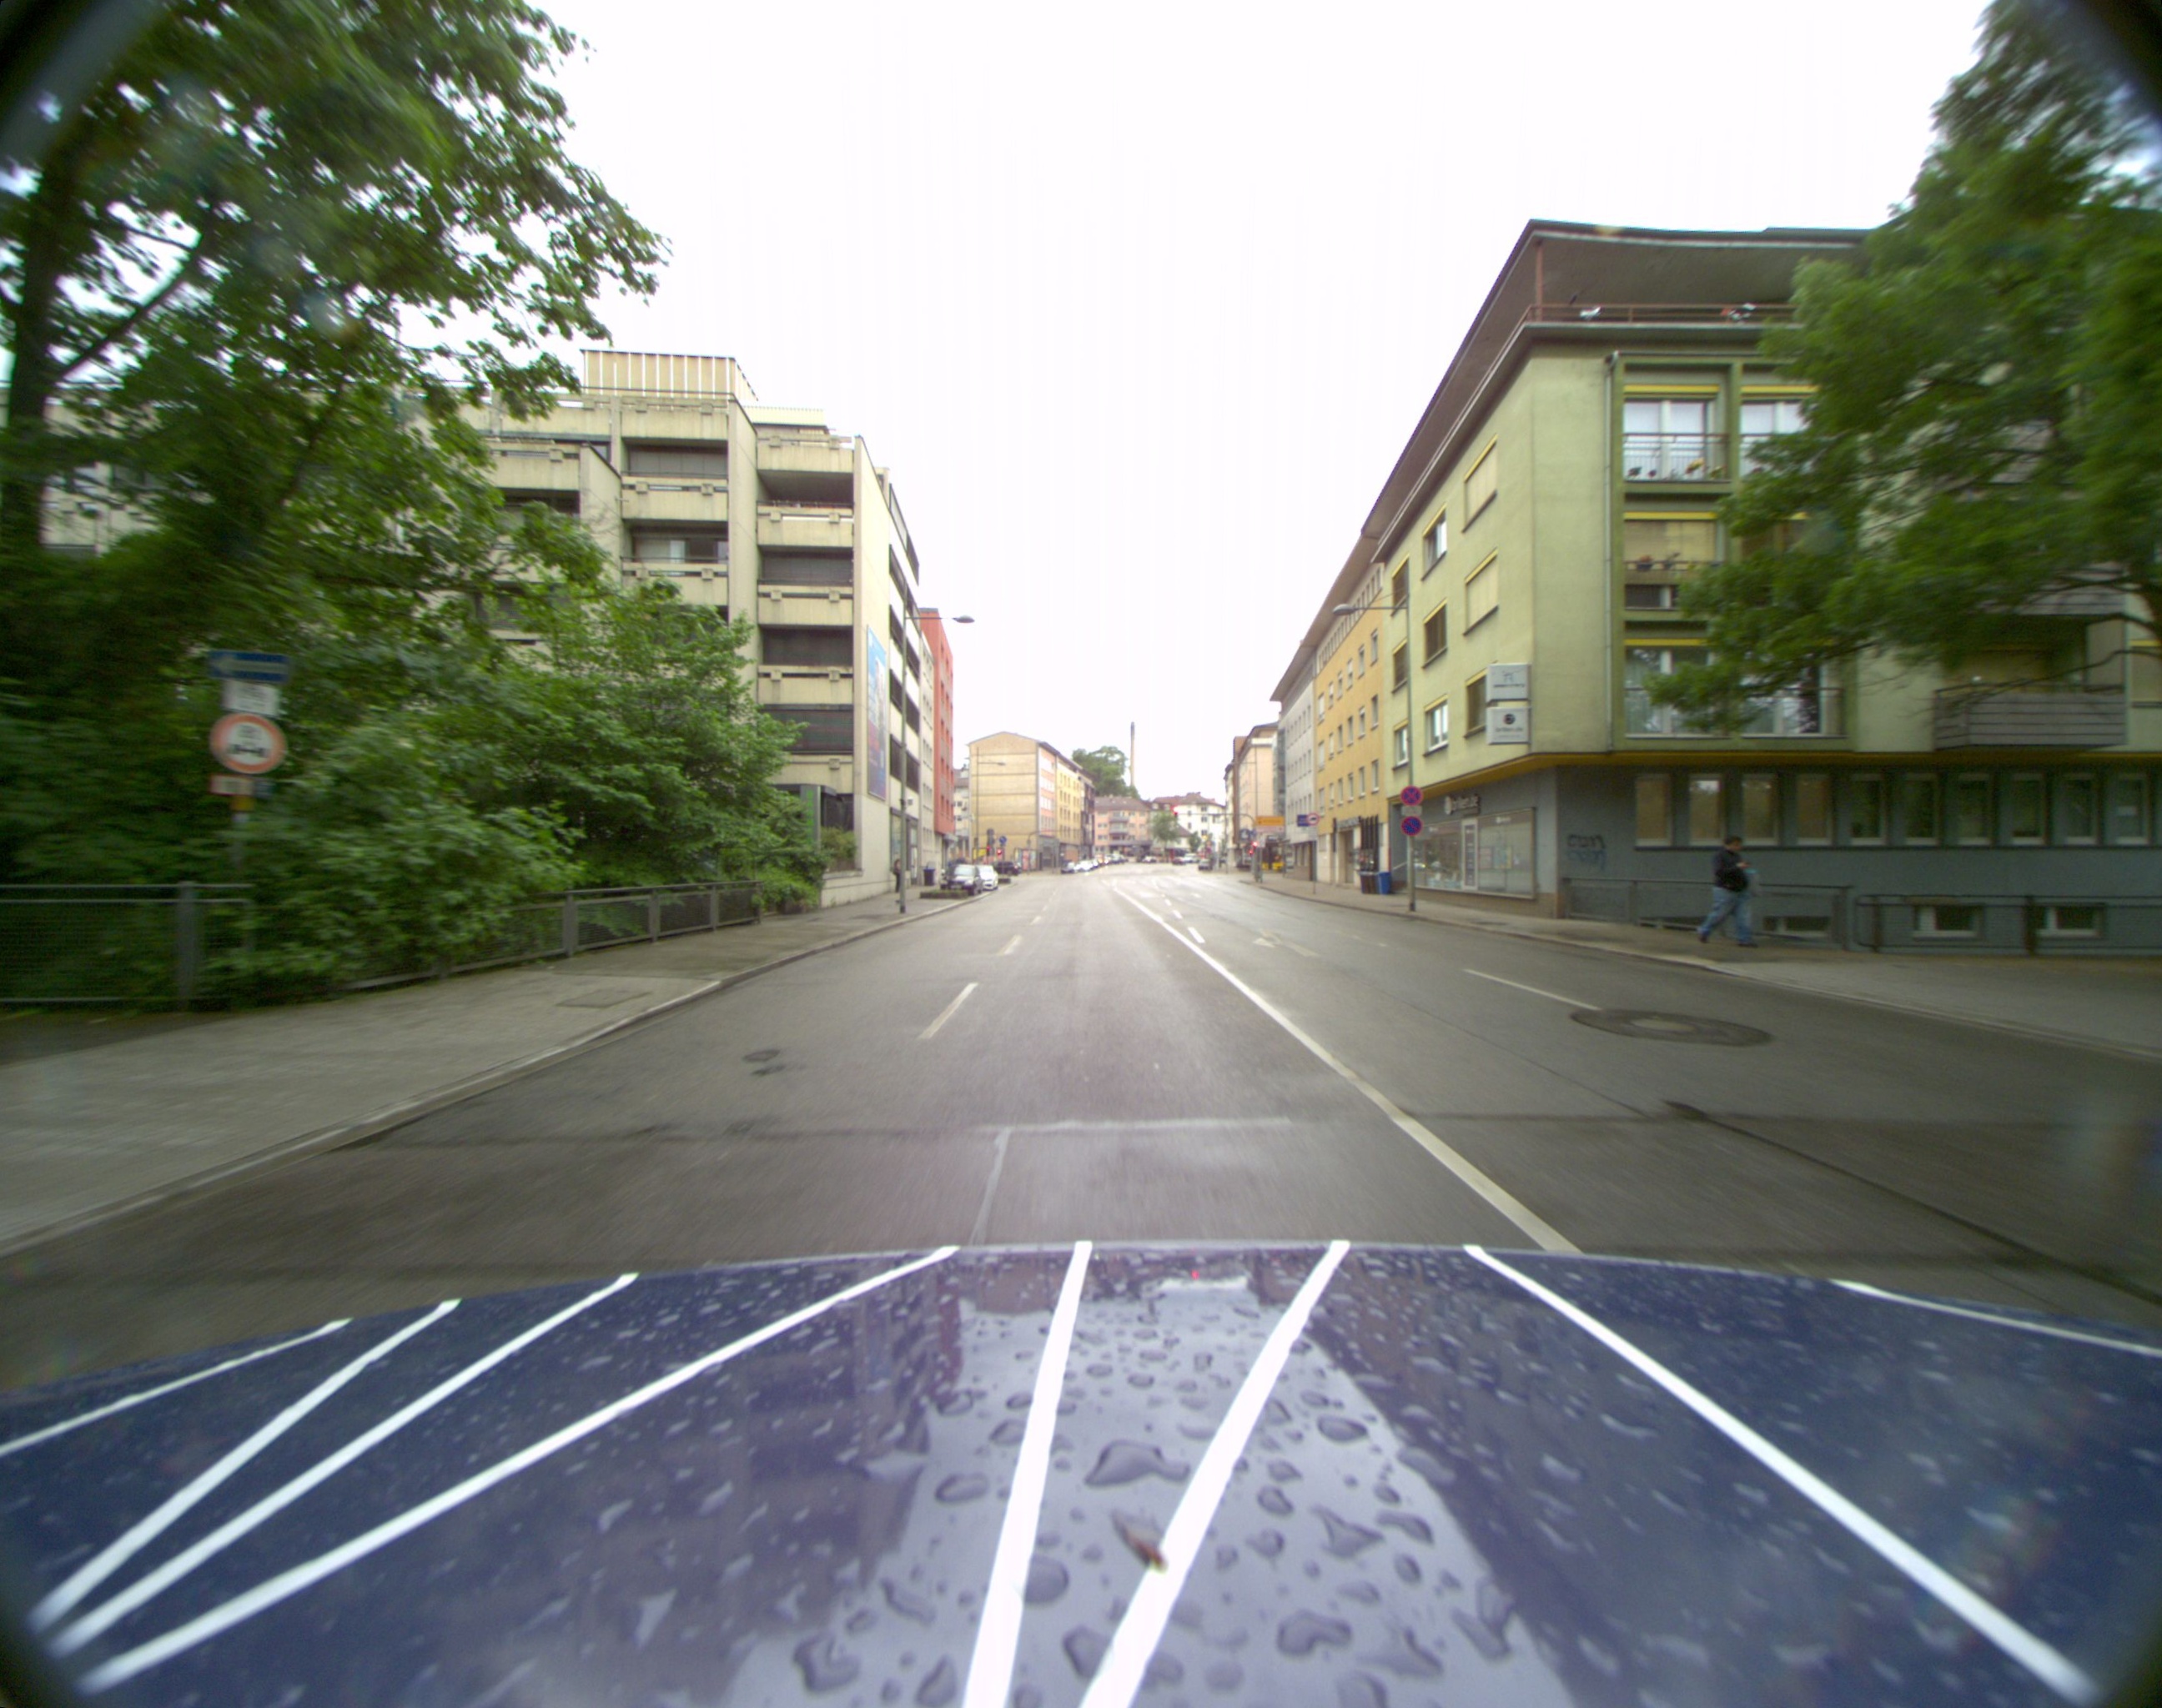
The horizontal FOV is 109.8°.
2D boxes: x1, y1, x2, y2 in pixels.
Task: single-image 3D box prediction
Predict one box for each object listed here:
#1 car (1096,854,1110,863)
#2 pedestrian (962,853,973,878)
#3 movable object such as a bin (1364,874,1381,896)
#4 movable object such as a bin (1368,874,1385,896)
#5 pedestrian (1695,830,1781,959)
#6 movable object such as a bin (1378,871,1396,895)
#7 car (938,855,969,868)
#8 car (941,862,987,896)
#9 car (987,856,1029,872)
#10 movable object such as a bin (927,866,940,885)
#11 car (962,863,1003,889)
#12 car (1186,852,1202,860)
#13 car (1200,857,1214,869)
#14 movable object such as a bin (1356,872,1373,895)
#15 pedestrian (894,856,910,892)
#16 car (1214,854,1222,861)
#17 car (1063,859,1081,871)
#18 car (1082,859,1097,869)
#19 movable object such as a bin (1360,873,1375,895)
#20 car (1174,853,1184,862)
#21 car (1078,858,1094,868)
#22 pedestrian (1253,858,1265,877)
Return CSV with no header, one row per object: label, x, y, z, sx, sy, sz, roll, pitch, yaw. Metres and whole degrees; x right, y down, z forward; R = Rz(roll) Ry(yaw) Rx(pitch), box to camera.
car,3.678,0.709,126.048,1.736,1.389,3.745,0,0,11
pedestrian,-9.899,0.974,66.409,0.806,2.140,0.737,-1,0,-24
movable object such as a bin,12.573,1.339,32.760,0.529,0.922,0.426,-4,0,7
movable object such as a bin,12.562,1.325,32.288,0.529,0.890,0.435,-4,0,7
pedestrian,10.578,0.638,12.260,0.752,2.002,0.782,0,0,7
movable object such as a bin,12.756,1.224,31.703,0.529,0.955,0.435,-4,0,7
car,-17.503,0.990,104.531,3.783,1.701,1.842,0,0,19
car,-5.639,1.178,36.966,1.706,1.549,3.804,1,0,-2
car,-7.676,1.028,79.744,3.991,1.674,1.882,0,0,18
movable object such as a bin,-8.954,1.292,46.083,0.681,1.097,0.514,0,0,-2
car,-5.599,1.220,43.676,1.835,1.412,4.569,1,0,-2
car,24.975,0.416,167.895,2.013,1.753,4.772,1,0,28
car,17.347,1.237,104.730,1.834,1.612,4.003,0,0,10
movable object such as a bin,12.661,1.313,33.961,0.517,0.994,0.524,-4,0,7
pedestrian,-8.383,0.928,35.593,0.599,1.650,0.691,3,0,-7
car,30.102,0.710,166.654,1.591,1.518,3.492,0,0,14
car,-1.119,1.401,96.296,1.736,1.389,3.744,0,0,8
car,1.298,1.387,110.726,1.736,1.389,3.744,0,0,8
movable object such as a bin,12.557,1.317,33.300,0.465,0.922,0.428,-4,0,7
car,18.118,0.692,140.325,1.748,1.586,4.002,0,0,7
car,0.719,1.263,104.302,1.736,1.389,3.744,0,0,8
pedestrian,15.076,1.174,64.378,0.785,1.578,0.674,-3,-1,21
